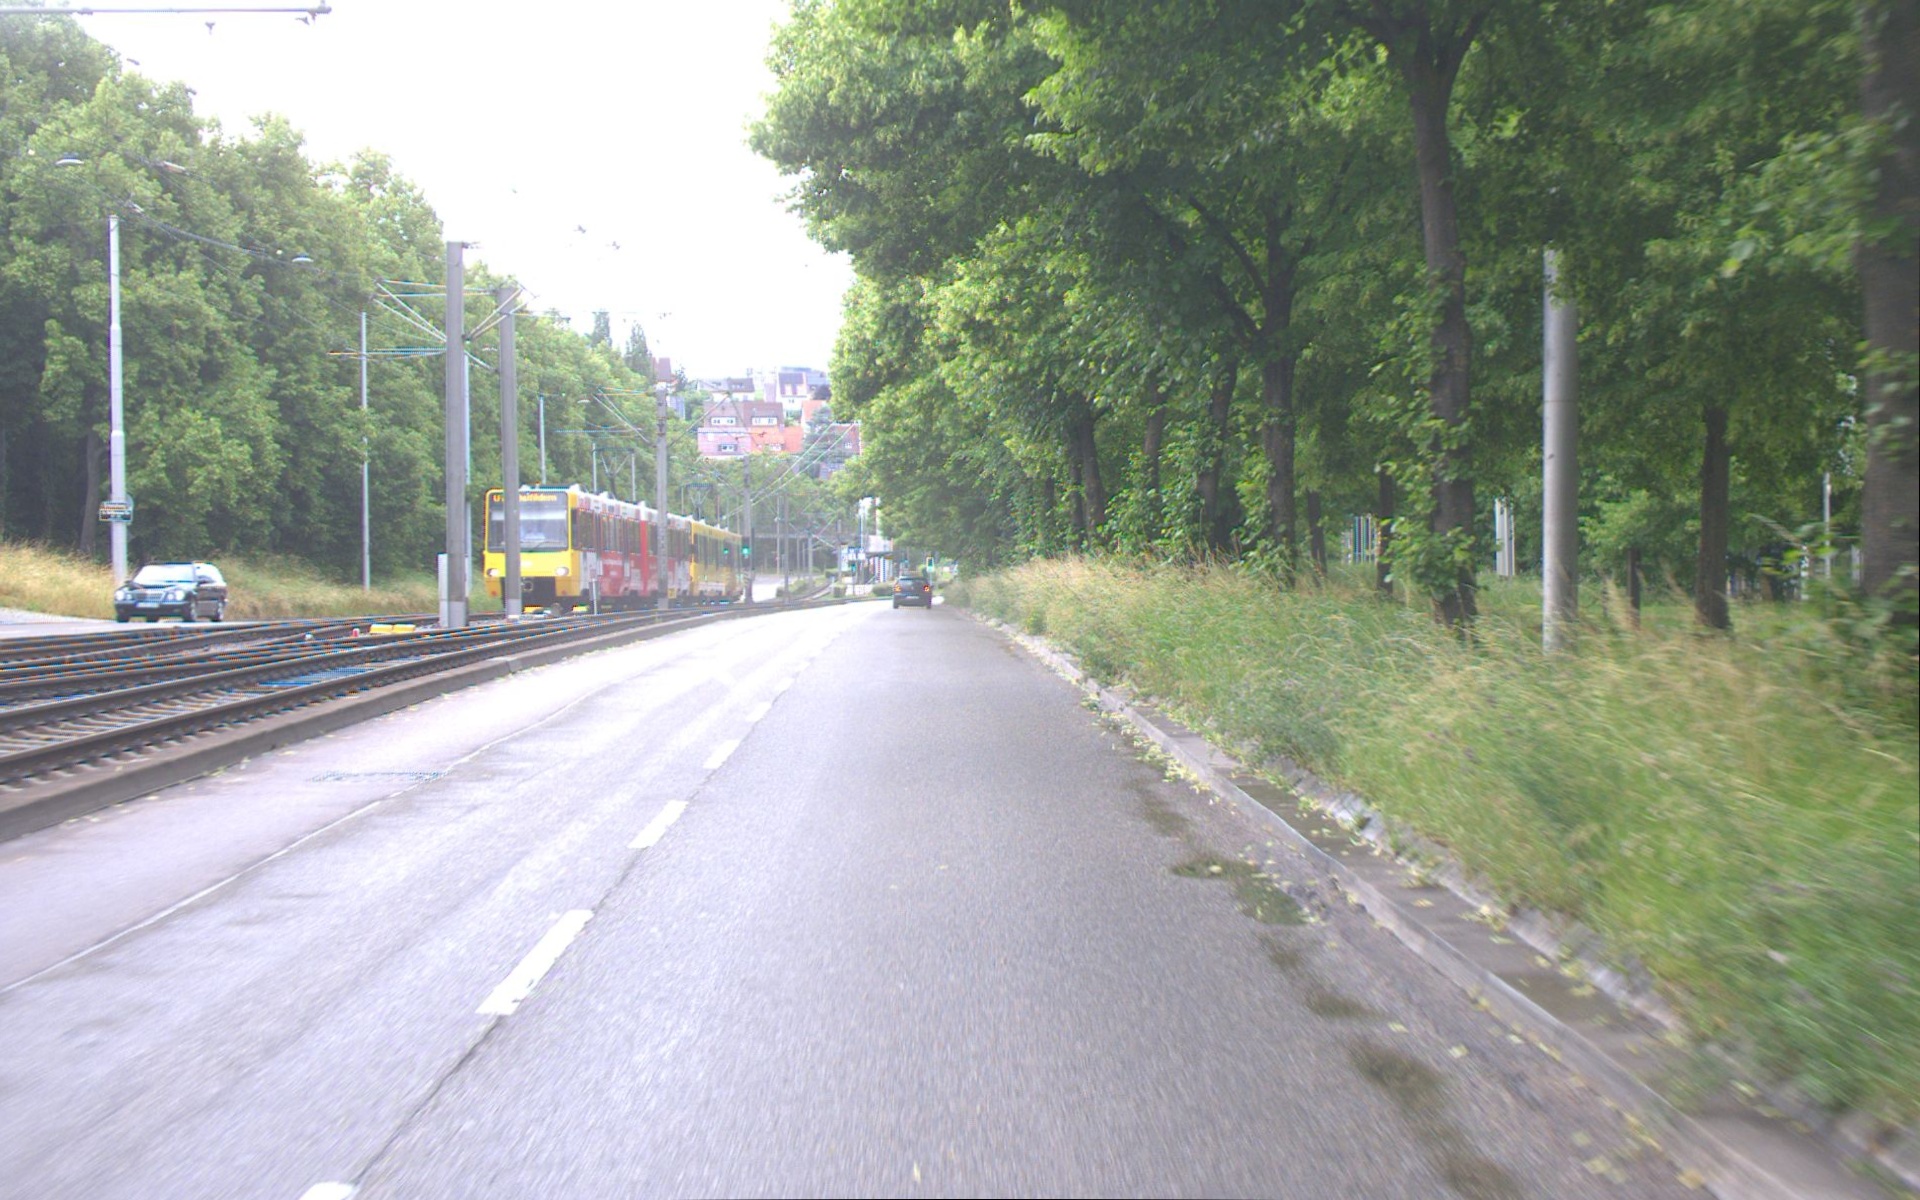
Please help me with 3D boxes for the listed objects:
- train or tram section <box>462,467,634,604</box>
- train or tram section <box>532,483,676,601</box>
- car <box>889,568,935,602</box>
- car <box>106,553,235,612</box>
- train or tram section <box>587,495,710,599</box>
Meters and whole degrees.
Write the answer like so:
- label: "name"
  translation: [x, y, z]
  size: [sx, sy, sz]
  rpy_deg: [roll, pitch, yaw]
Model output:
- label: "train or tram section"
  translation: [-12.132, -1.829, 102.821]
  size: [3.214, 3.783, 14.789]
  rpy_deg: [0, 0, 1]
- label: "train or tram section"
  translation: [-12.029, -1.893, 117.657]
  size: [3.214, 3.783, 14.789]
  rpy_deg: [0, 0, 1]
- label: "car"
  translation: [-2.106, -0.666, 150.268]
  size: [1.982, 1.436, 4.474]
  rpy_deg: [0, 1, -1]
- label: "car"
  translation: [-18.612, -0.412, 81.243]
  size: [1.902, 1.320, 4.826]
  rpy_deg: [0, 0, 1]
- label: "train or tram section"
  translation: [-11.866, -1.970, 132.496]
  size: [3.214, 3.783, 14.789]
  rpy_deg: [0, 0, 1]
